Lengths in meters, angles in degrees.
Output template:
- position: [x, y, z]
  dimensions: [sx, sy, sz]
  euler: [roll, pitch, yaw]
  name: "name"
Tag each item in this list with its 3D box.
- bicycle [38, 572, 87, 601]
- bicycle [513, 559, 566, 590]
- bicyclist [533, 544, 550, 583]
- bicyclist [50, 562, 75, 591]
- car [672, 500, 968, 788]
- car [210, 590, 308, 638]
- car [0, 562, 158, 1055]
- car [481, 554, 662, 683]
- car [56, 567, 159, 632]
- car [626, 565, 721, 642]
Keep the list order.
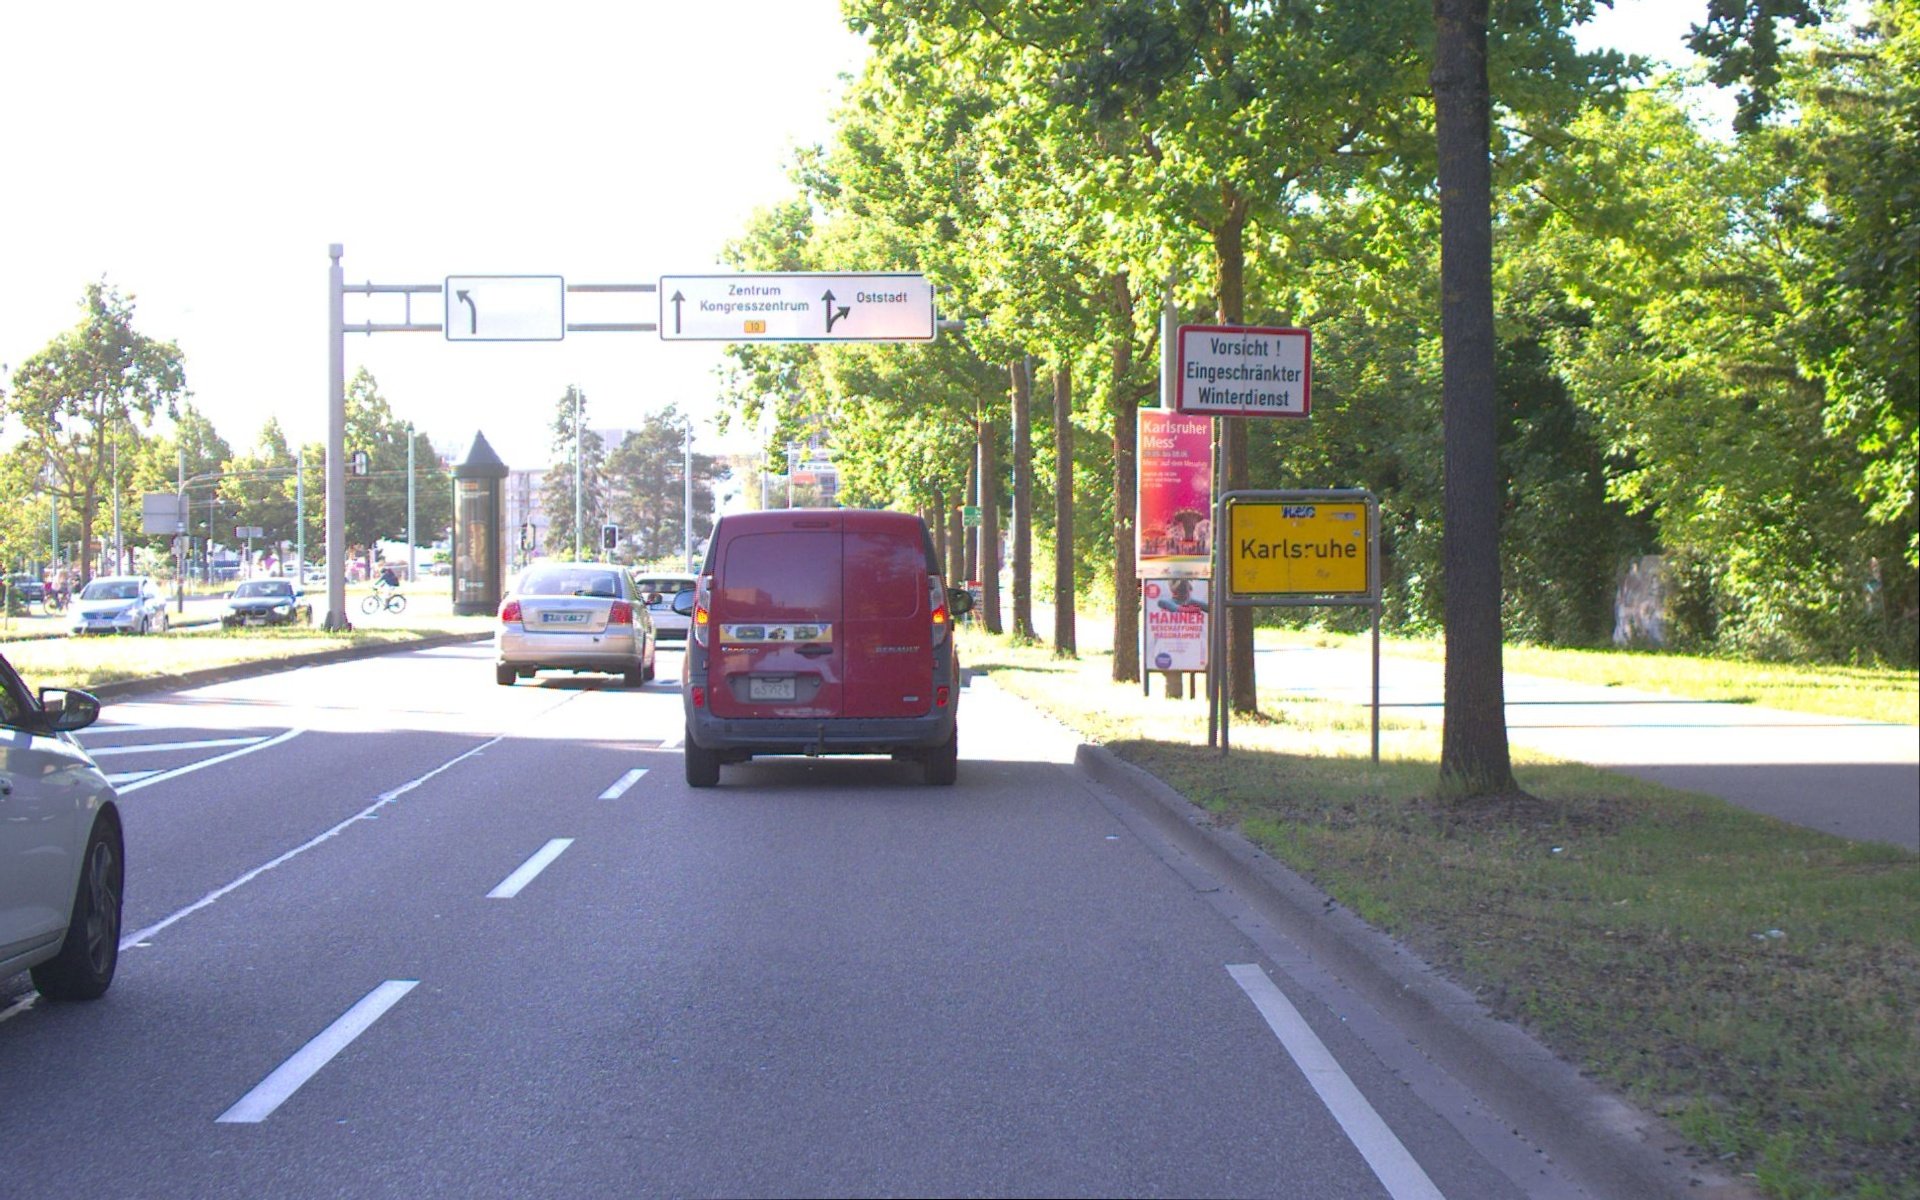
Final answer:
- position: [-34.234, -0.499, 131.094]
  dimensions: [1.727, 1.103, 0.604]
  euler: [0, 0, 11]
  name: "bicycle"
- position: [-15.945, -0.971, 130.510]
  dimensions: [1.958, 1.162, 0.517]
  euler: [0, 0, -3]
  name: "bicycle"
- position: [-15.887, -1.382, 130.511]
  dimensions: [0.603, 1.463, 0.517]
  euler: [0, 0, -3]
  name: "bicyclist"
- position: [-34.222, -0.882, 131.090]
  dimensions: [0.735, 1.103, 0.604]
  euler: [0, 0, 11]
  name: "bicyclist"
- position: [-0.955, 0.246, 23.322]
  dimensions: [1.806, 1.753, 4.006]
  euler: [1, 1, -3]
  name: "car"
- position: [-17.139, 0.324, 84.218]
  dimensions: [1.827, 1.107, 4.175]
  euler: [0, 1, -4]
  name: "car"
- position: [-3.660, 0.601, 10.039]
  dimensions: [1.778, 1.404, 4.075]
  euler: [1, 1, -2]
  name: "car"
- position: [-4.670, 0.186, 41.799]
  dimensions: [1.841, 1.451, 4.163]
  euler: [1, 1, -2]
  name: "car"
- position: [-19.994, -0.040, 80.747]
  dimensions: [1.688, 1.471, 4.050]
  euler: [0, 1, -4]
  name: "car"
- position: [-5.410, 0.047, 65.262]
  dimensions: [1.661, 1.393, 3.559]
  euler: [0, 1, -3]
  name: "car"
